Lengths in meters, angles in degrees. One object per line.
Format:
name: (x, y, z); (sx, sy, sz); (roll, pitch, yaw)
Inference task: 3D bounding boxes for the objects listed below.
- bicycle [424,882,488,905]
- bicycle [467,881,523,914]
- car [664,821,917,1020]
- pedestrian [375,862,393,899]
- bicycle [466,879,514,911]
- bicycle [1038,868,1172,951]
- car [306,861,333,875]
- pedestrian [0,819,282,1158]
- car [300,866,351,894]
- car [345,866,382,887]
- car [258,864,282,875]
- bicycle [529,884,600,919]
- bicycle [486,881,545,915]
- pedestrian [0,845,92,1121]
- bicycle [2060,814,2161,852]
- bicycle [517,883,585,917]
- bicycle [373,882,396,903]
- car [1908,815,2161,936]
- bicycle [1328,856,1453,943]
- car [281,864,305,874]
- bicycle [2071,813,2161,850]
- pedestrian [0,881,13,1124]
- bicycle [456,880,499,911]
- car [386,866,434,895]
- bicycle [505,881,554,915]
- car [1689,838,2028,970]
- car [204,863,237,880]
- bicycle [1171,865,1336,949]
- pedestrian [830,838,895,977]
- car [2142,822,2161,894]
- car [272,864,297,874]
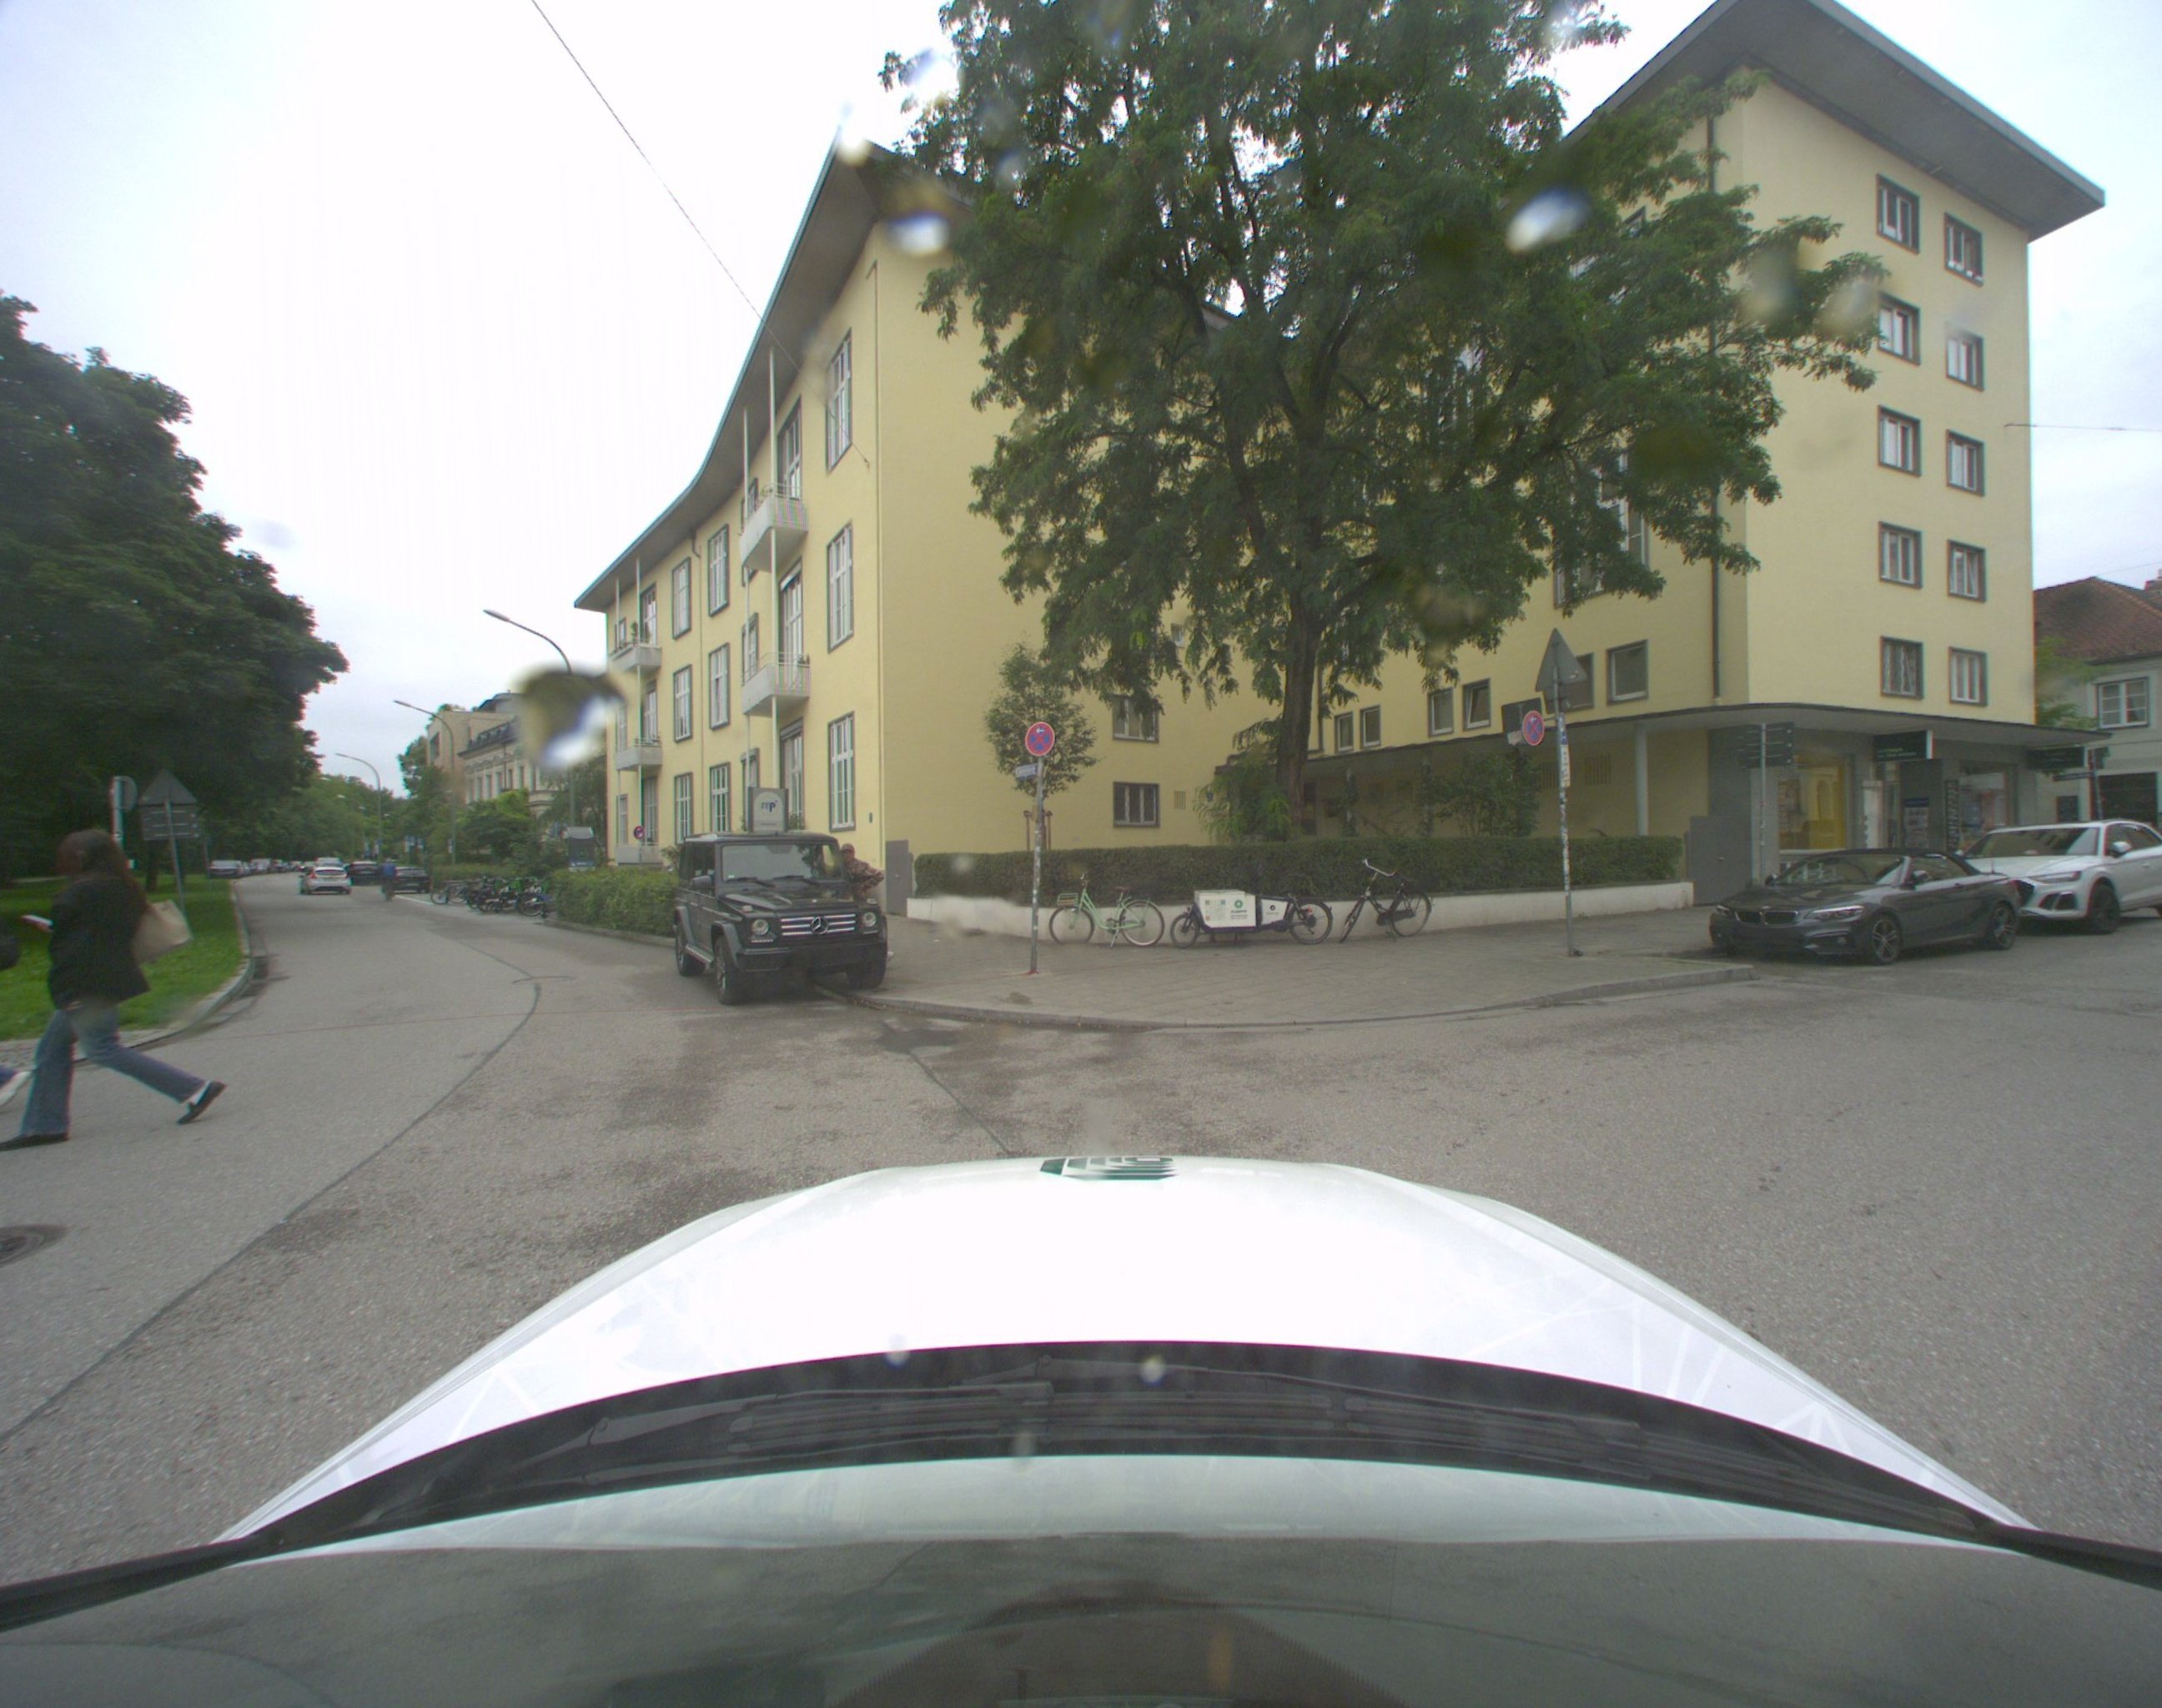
bicycle: (-26.319, 1.648, 34.329); (0.540, 0.908, 2.048); (-1, -1, 41)
bicycle: (-20.006, 1.466, 27.823); (0.473, 1.065, 1.620); (-1, -1, 15)
car: (-3.957, 0.693, 10.581); (1.944, 2.001, 4.371); (0, -1, -36)
pedestrian: (-31.086, 1.181, 36.313); (0.749, 1.629, 0.475); (-1, -1, 38)
bicycle: (-20.842, 1.438, 28.759); (0.388, 1.065, 1.615); (0, -1, 5)
bicycle: (0.357, 0.834, 12.412); (1.927, 1.156, 0.587); (-2, 2, 27)
car: (-77.040, 1.391, 82.388); (3.814, 1.390, 1.765); (-1, -1, 44)
pedestrian: (-5.838, 0.749, 4.952); (1.116, 1.833, 0.746); (-4, 0, -22)
car: (-40.283, 1.336, 43.381); (3.814, 1.390, 1.765); (-1, -1, 44)
car: (-51.123, 1.577, 57.998); (3.745, 1.420, 1.639); (-1, -1, 43)
car: (-105.642, 2.015, 106.106); (1.934, 1.390, 3.817); (0, -1, -40)
bicycle: (-15.512, 1.412, 24.489); (0.435, 0.984, 1.764); (-1, -1, 39)
bicycle: (-18.981, 1.457, 27.378); (0.472, 1.065, 1.622); (-1, -1, 22)
pedestrian: (-7.452, 0.864, 5.437); (0.802, 1.781, 0.630); (-4, 0, -22)
bicycle: (29.527, -0.604, 23.371); (0.392, 1.034, 1.813); (-2, 2, -18)
bicycle: (-16.661, 1.436, 25.644); (0.359, 0.984, 1.764); (-1, -1, 41)
bicycle: (-31.005, 1.698, 36.249); (1.610, 0.908, 0.486); (-1, -1, 39)
car: (15.647, 0.272, 13.042); (4.341, 1.584, 1.795); (-3, -1, -22)
bicycle: (4.709, 0.657, 12.366); (1.854, 1.210, 0.560); (-1, 1, -20)
car: (-117.602, 2.229, 121.509); (1.932, 1.390, 3.821); (0, -1, -34)
bicycle: (30.000, -0.650, 23.483); (0.392, 1.034, 1.813); (-2, 2, -18)
pedestrian: (-7.235, 0.790, 4.811); (0.804, 1.903, 0.703); (-4, 0, -22)
bicycle: (-22.074, 1.510, 29.825); (0.389, 1.065, 1.613); (0, -1, -1)
car: (-37.036, 1.436, 44.929); (1.669, 1.528, 3.950); (0, -1, -45)
bicycle: (-18.271, 1.434, 27.024); (0.381, 1.065, 1.616); (0, -1, 6)
car: (10.479, 0.588, 10.984); (4.101, 1.411, 1.738); (-2, -1, -22)
car: (-75.622, 1.511, 71.580); (1.757, 1.390, 3.924); (0, -1, -43)
bicycle: (2.481, 0.763, 11.864); (2.281, 1.126, 0.584); (-1, 1, 2)
pedestrian: (-2.928, 0.698, 10.973); (0.637, 1.798, 0.560); (-3, 1, -4)
car: (24.184, 0.004, 16.812); (4.099, 1.471, 1.672); (-2, -1, -21)
car: (-114.529, 2.171, 117.150); (1.932, 1.390, 3.821); (0, -1, -35)
